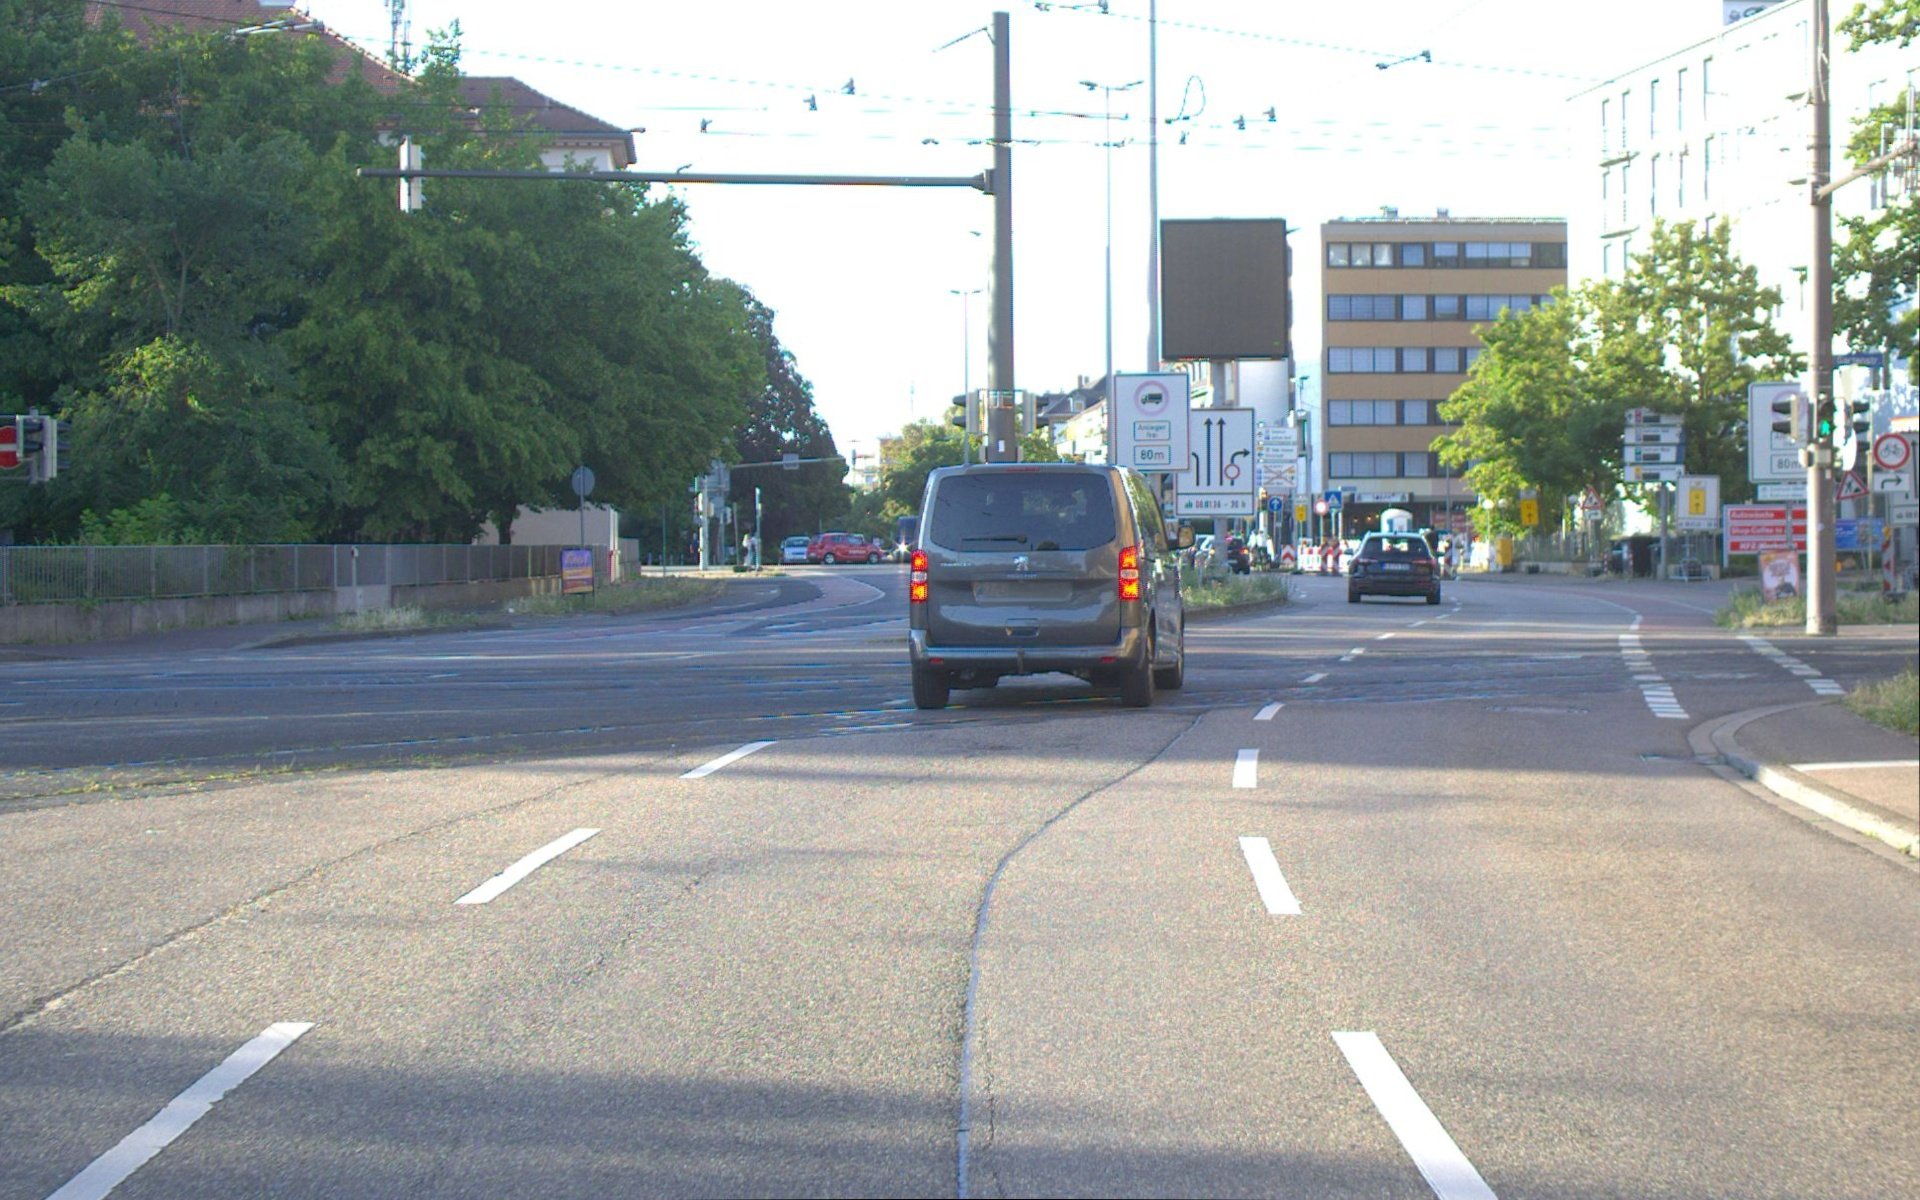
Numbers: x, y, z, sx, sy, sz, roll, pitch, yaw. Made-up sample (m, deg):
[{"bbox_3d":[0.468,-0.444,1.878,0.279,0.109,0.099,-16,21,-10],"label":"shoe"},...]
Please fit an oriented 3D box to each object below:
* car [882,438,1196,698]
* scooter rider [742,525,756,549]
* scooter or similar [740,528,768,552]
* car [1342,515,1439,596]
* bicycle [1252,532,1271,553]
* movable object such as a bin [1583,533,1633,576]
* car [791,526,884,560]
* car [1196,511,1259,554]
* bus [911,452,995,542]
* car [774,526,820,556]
[{"bbox_3d":[0.732,-0.281,27.878,1.994,1.894,4.298,2,1,8],"label":"car"},{"bbox_3d":[-8.973,-2.669,145.995,0.509,1.032,0.446,1,1,-14],"label":"scooter rider"},{"bbox_3d":[-8.751,-2.557,146.039,1.098,0.973,0.559,1,1,-13],"label":"scooter or similar"},{"bbox_3d":[8.474,-0.896,67.859,1.846,1.539,3.631,0,1,7],"label":"car"},{"bbox_3d":[12.274,-2.326,139.905,0.533,0.844,1.683,-1,1,-2],"label":"bicycle"},{"bbox_3d":[21.359,-1.515,113.378,1.463,1.381,1.546,-1,1,6],"label":"movable object such as a bin"},{"bbox_3d":[-5.839,-2.737,163.635,3.986,1.590,2.001,-1,1,-20],"label":"car"},{"bbox_3d":[10.461,-2.642,134.797,1.993,1.651,4.299,-1,1,-2],"label":"car"},{"bbox_3d":[-0.420,-5.388,181.543,3.289,4.601,10.002,1,1,-6],"label":"bus"},{"bbox_3d":[-8.811,-3.202,186.061,1.994,1.590,4.000,0,1,4],"label":"car"}]
